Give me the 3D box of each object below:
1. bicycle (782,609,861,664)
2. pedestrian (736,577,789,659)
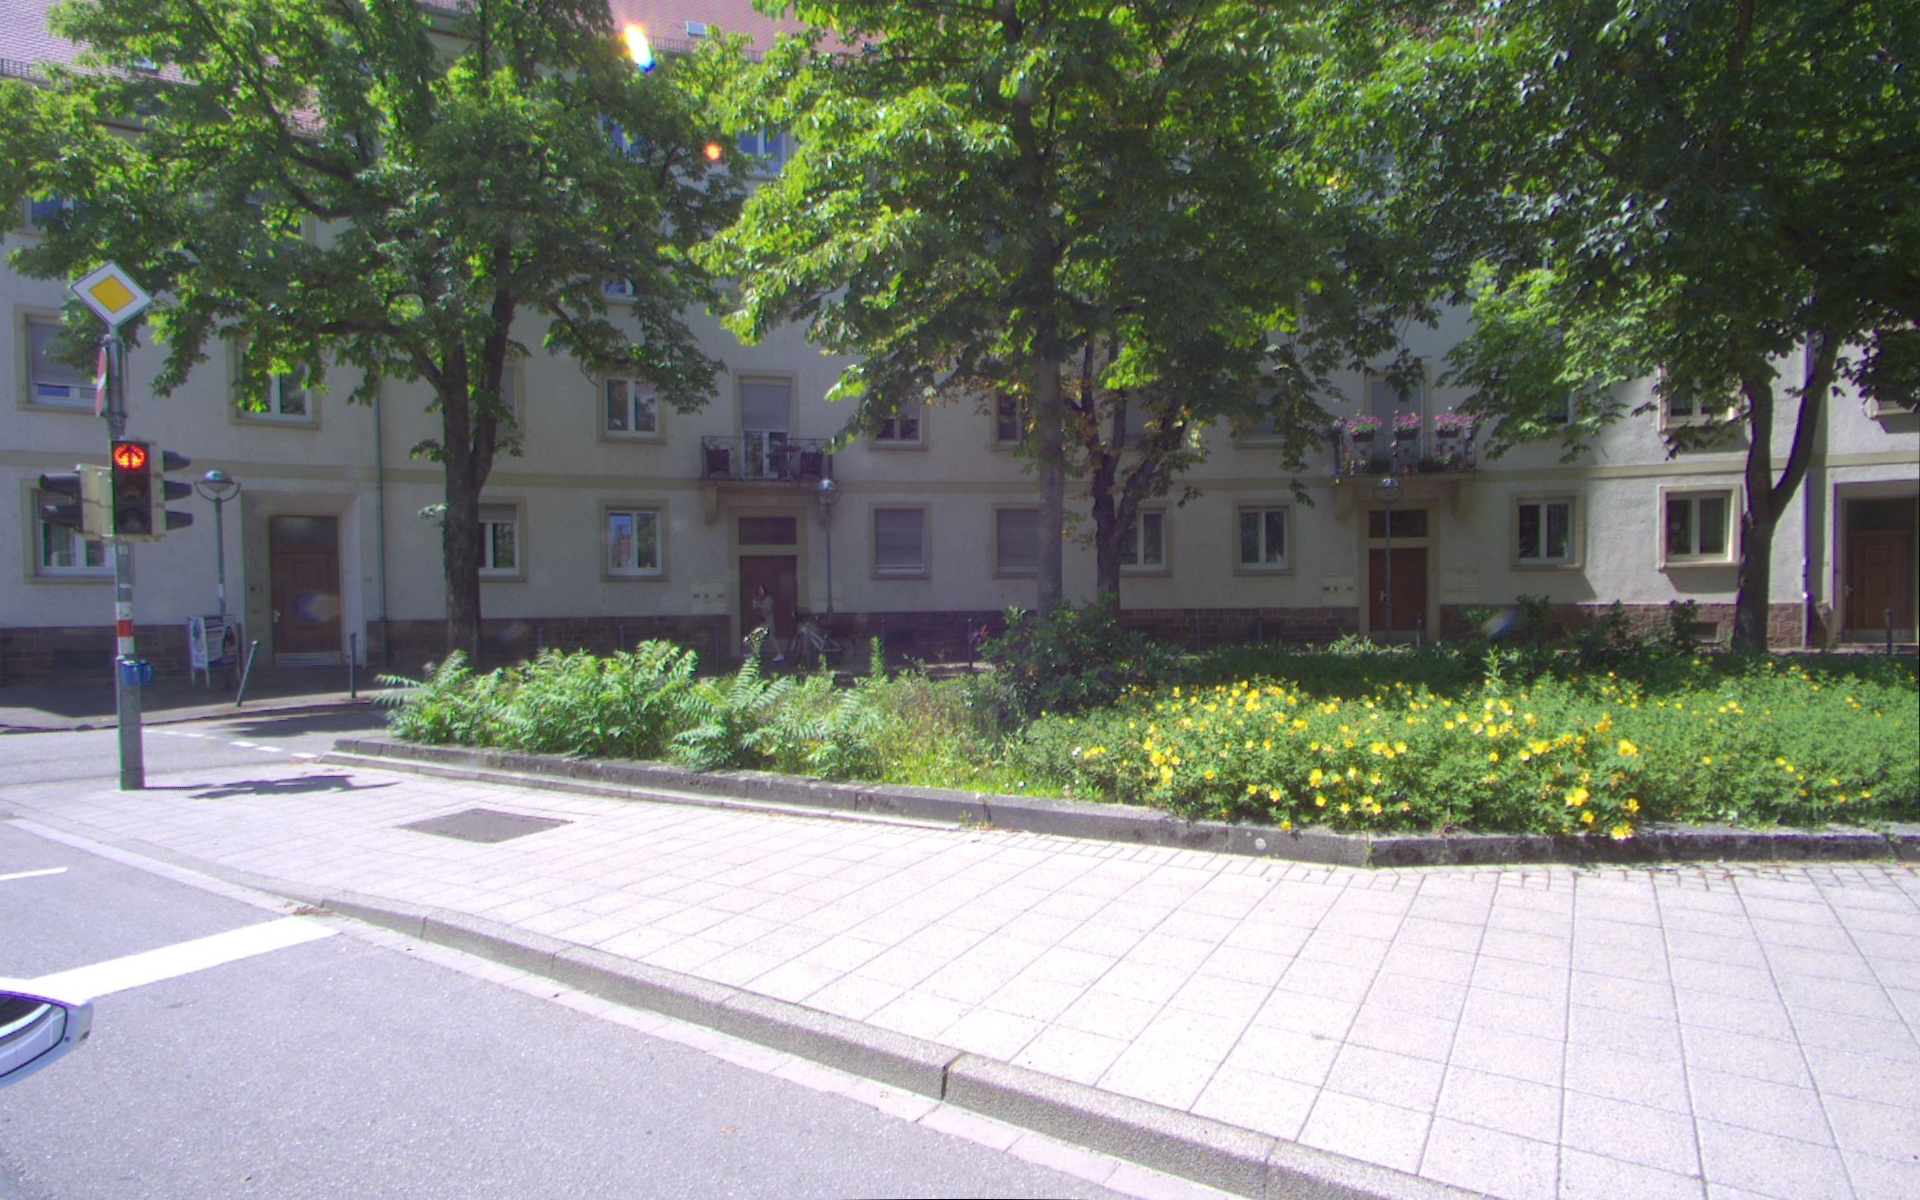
[{"bbox_3d":[-2.879,0.757,20.871,1.575,1.119,0.525,-1,1,-4],"label":"bicycle"},{"bbox_3d":[-4.386,0.391,22.252,1.038,1.715,0.651,-3,7,-17],"label":"pedestrian"}]
